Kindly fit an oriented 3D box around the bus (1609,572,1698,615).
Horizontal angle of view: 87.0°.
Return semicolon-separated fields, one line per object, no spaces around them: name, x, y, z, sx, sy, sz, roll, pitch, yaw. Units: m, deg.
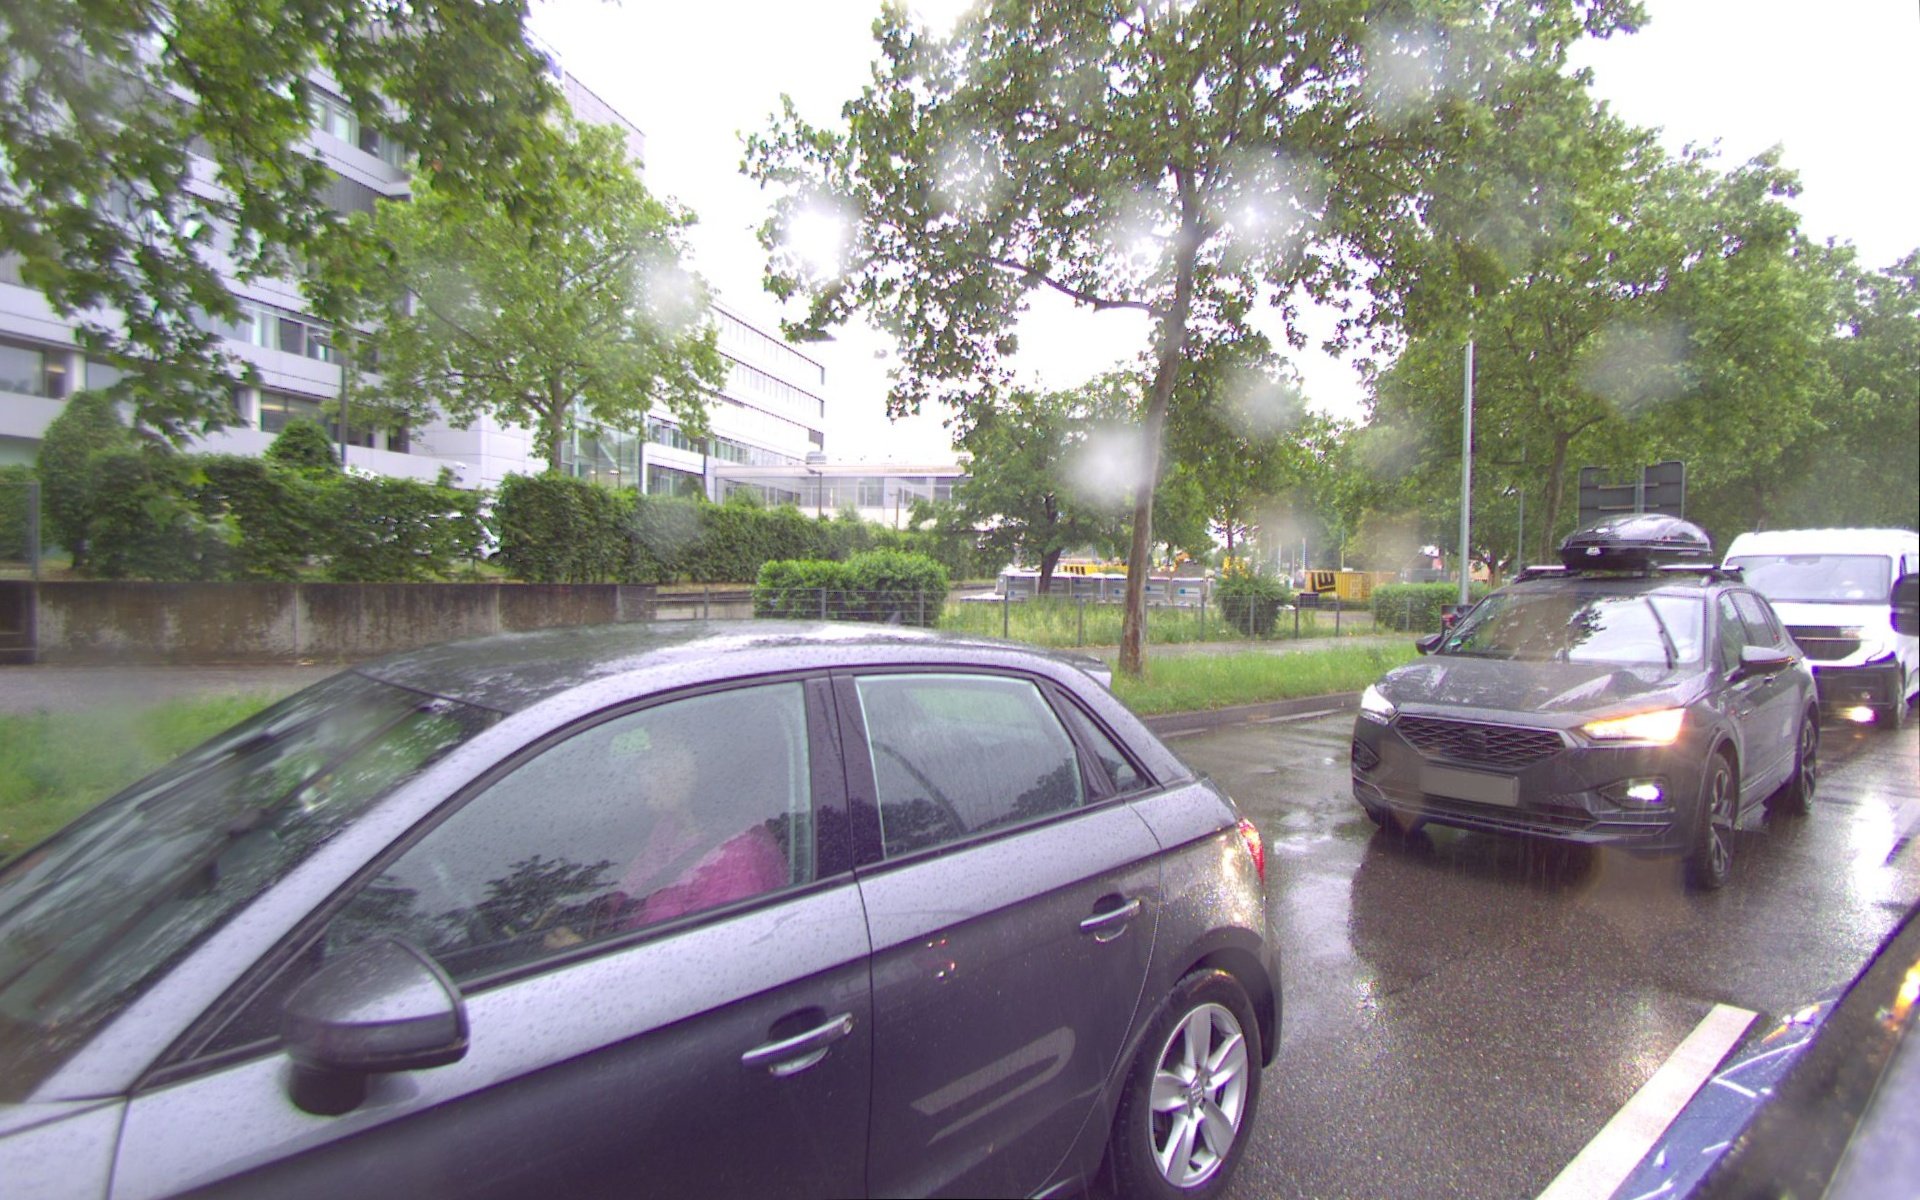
bus;43.728;-0.406;63.919;1.681;2.600;4.366;0;0;-41

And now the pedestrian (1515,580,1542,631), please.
pedestrian;19.846;0.189;35.319;0.645;1.738;0.645;0;0;-40

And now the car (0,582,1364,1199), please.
car;-0.838;0.698;2.191;3.715;1.446;1.679;0;1;-41

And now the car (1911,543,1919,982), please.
car;6.326;0.181;4.957;5.599;2.544;2.024;0;1;-43

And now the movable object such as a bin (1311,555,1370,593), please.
movable object such as a bin;36.054;-2.455;95.905;4.850;3.478;1.916;0;0;5

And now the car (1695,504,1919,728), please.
car;11.707;0.154;13.644;5.227;2.476;1.892;0;1;-43

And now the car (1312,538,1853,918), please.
car;4.338;0.553;6.733;4.347;1.719;1.892;0;1;-42
